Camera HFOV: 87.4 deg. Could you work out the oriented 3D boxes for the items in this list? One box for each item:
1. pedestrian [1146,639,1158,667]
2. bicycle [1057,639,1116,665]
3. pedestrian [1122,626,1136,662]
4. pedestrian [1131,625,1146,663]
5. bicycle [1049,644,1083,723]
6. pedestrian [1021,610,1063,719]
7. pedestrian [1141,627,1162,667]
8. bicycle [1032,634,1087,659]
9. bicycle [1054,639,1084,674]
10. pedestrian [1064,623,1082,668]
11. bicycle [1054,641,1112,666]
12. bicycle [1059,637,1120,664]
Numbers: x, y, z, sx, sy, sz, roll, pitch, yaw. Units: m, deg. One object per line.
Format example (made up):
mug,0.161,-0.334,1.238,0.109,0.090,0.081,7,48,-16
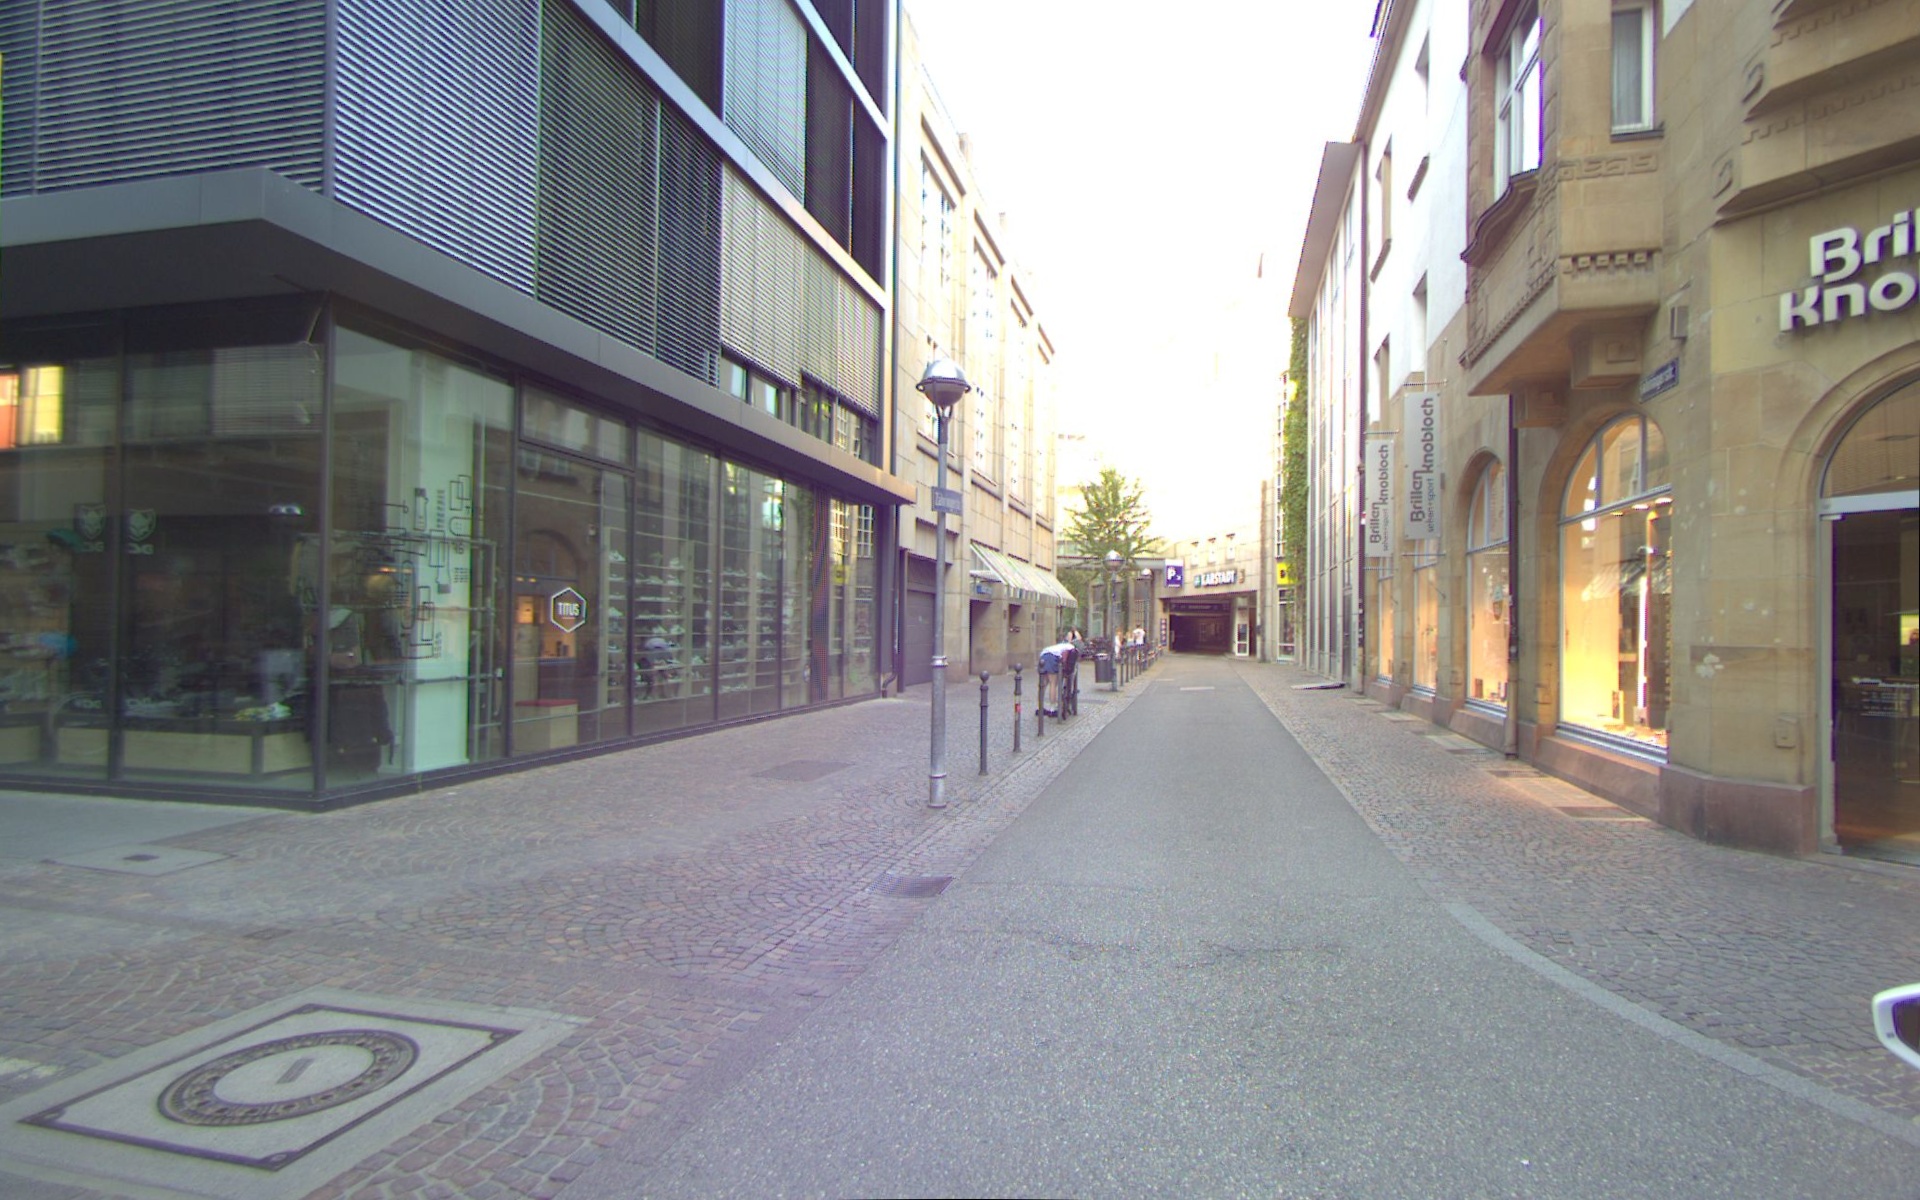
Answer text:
pedestrian,8.340,2.297,43.543,0.458,1.183,0.522,1,-1,15
bicycle,6.082,2.498,48.175,2.714,1.216,0.733,1,-1,-5
pedestrian,7.884,2.059,46.944,0.574,1.625,0.628,1,-1,15
pedestrian,8.472,2.082,47.750,0.619,1.780,0.799,1,-1,15
bicycle,1.835,1.392,17.195,0.404,1.248,1.828,0,-1,12
pedestrian,1.416,1.083,17.273,0.598,1.814,0.911,0,-1,13
pedestrian,8.653,2.120,45.269,0.849,1.780,0.799,1,-1,15
bicycle,5.116,2.382,51.611,2.714,1.216,0.733,1,-1,-5
bicycle,3.699,1.894,33.977,0.473,1.095,2.242,0,-2,20
pedestrian,4.572,1.845,40.767,0.645,1.787,0.617,0,-1,1
bicycle,6.018,2.626,49.242,2.714,1.216,0.733,1,-1,-5
bicycle,6.043,2.356,46.817,2.714,1.216,0.733,1,-1,-5
